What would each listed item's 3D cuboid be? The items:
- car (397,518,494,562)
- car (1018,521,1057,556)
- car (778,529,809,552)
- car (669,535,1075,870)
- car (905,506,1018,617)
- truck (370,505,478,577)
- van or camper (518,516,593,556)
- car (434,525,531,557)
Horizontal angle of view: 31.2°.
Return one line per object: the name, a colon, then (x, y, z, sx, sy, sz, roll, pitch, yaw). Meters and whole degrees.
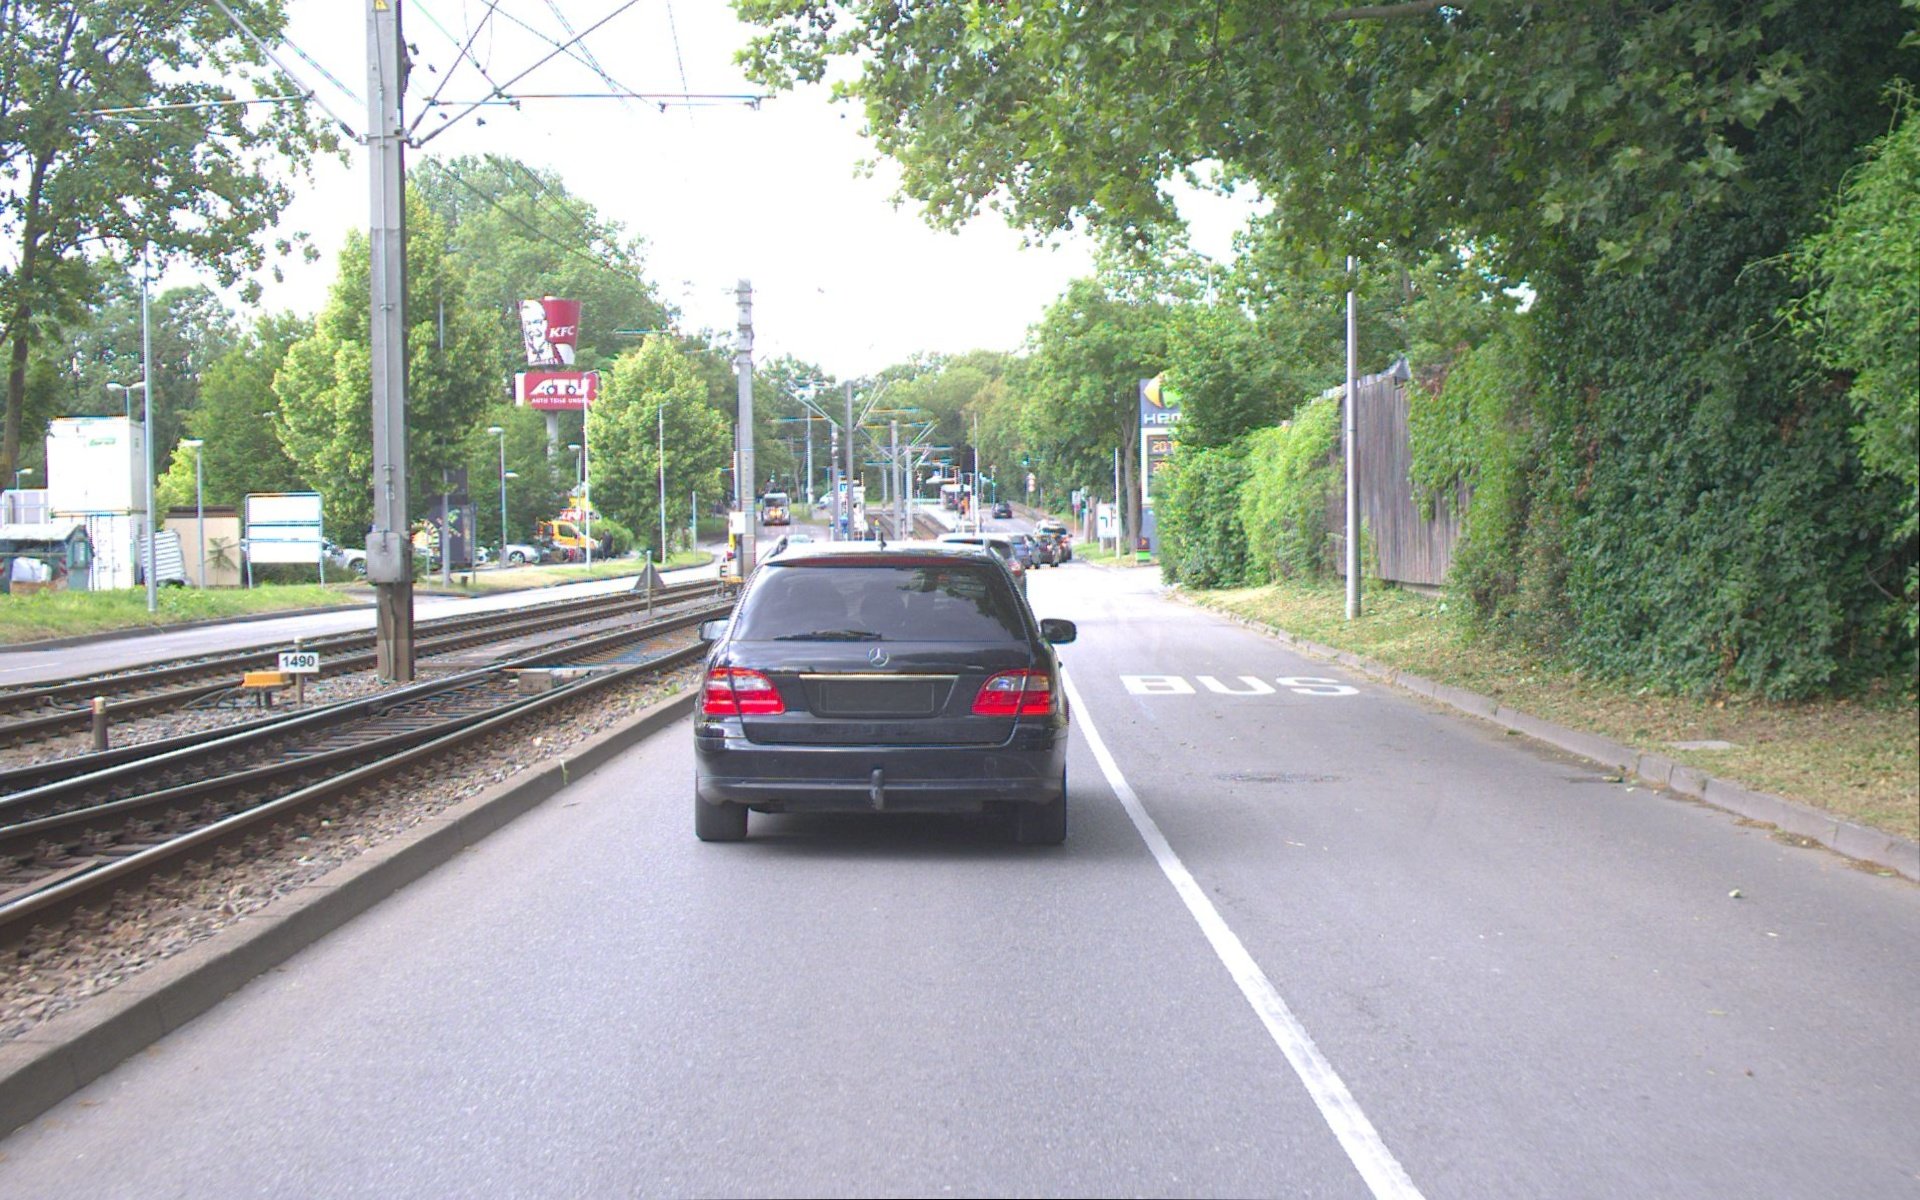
car: (-22.202, -2.594, 148.423, 3.986, 1.791, 1.878, -1, 1, -3)
car: (3.209, -2.539, 143.003, 1.571, 1.410, 3.354, 1, 1, 1)
car: (-10.712, -3.837, 221.544, 1.759, 1.396, 4.444, -3, 1, 0)
car: (-0.367, 0.425, 17.363, 1.808, 1.469, 3.881, 1, 1, 1)
car: (0.044, -0.639, 57.272, 1.780, 1.744, 3.718, 1, 1, 1)
truck: (-21.633, -2.387, 138.817, 3.986, 2.812, 2.376, -1, 1, -1)
van or camper: (-22.135, -3.510, 188.142, 3.986, 2.127, 1.878, 1, 1, -3)
car: (-22.429, -2.764, 161.549, 4.306, 1.467, 1.680, 0, 1, -1)
